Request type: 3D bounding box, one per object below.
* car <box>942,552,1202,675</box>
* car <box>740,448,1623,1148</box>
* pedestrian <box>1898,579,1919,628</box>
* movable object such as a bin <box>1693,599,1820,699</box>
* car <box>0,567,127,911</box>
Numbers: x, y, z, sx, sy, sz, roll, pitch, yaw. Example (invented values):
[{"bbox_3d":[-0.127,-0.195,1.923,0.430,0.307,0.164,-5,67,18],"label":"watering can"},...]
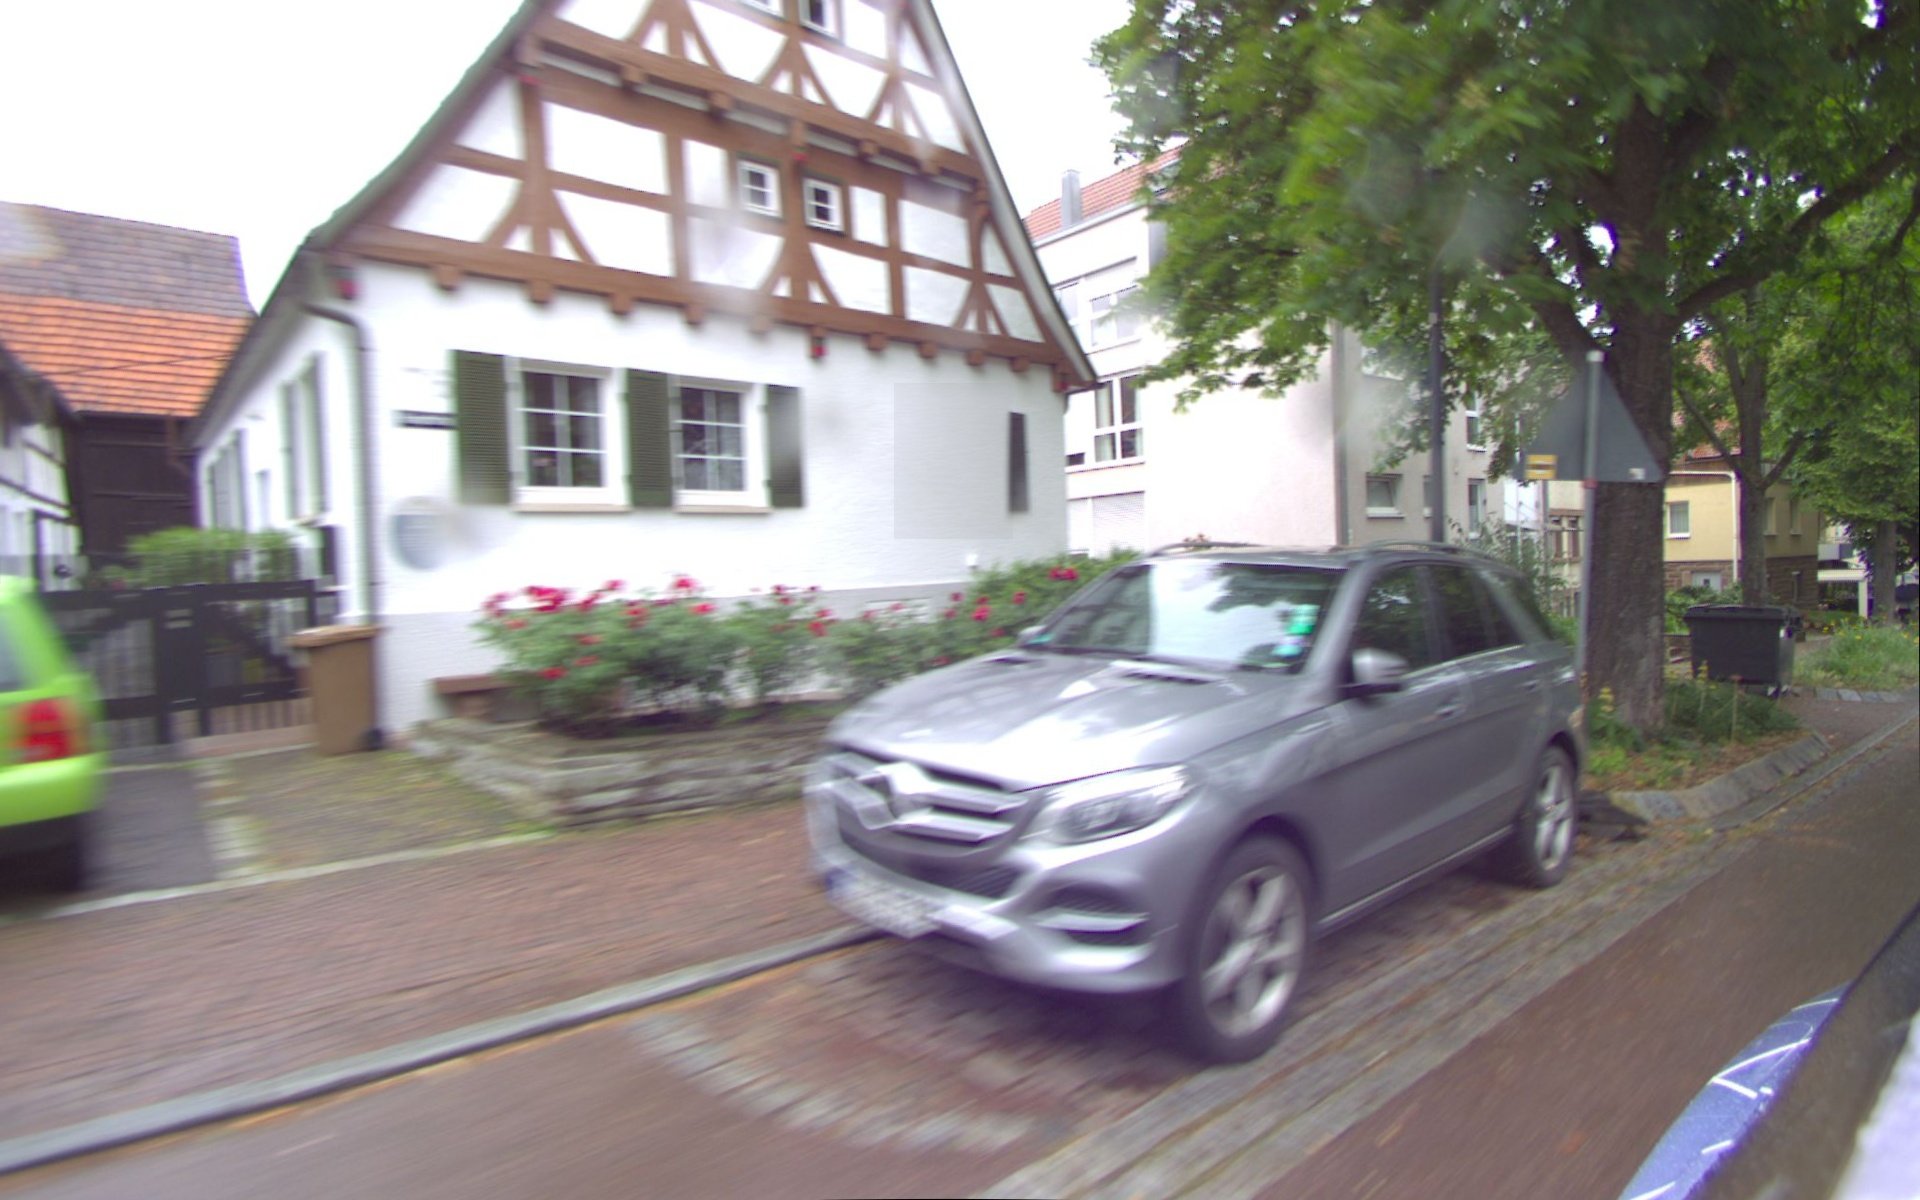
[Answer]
[{"bbox_3d":[1.896,0.321,18.376,1.966,1.925,4.466,-1,-3,-41],"label":"car"},{"bbox_3d":[1.386,0.522,4.832,4.411,1.815,1.917,0,-1,-42],"label":"car"},{"bbox_3d":[33.480,0.113,35.273,0.778,1.672,0.959,0,1,-27],"label":"pedestrian"},{"bbox_3d":[11.495,0.671,14.617,1.113,1.332,1.228,0,1,-38],"label":"movable object such as a bin"},{"bbox_3d":[-5.509,0.554,5.264,1.603,1.448,3.368,0,2,-43],"label":"car"}]
